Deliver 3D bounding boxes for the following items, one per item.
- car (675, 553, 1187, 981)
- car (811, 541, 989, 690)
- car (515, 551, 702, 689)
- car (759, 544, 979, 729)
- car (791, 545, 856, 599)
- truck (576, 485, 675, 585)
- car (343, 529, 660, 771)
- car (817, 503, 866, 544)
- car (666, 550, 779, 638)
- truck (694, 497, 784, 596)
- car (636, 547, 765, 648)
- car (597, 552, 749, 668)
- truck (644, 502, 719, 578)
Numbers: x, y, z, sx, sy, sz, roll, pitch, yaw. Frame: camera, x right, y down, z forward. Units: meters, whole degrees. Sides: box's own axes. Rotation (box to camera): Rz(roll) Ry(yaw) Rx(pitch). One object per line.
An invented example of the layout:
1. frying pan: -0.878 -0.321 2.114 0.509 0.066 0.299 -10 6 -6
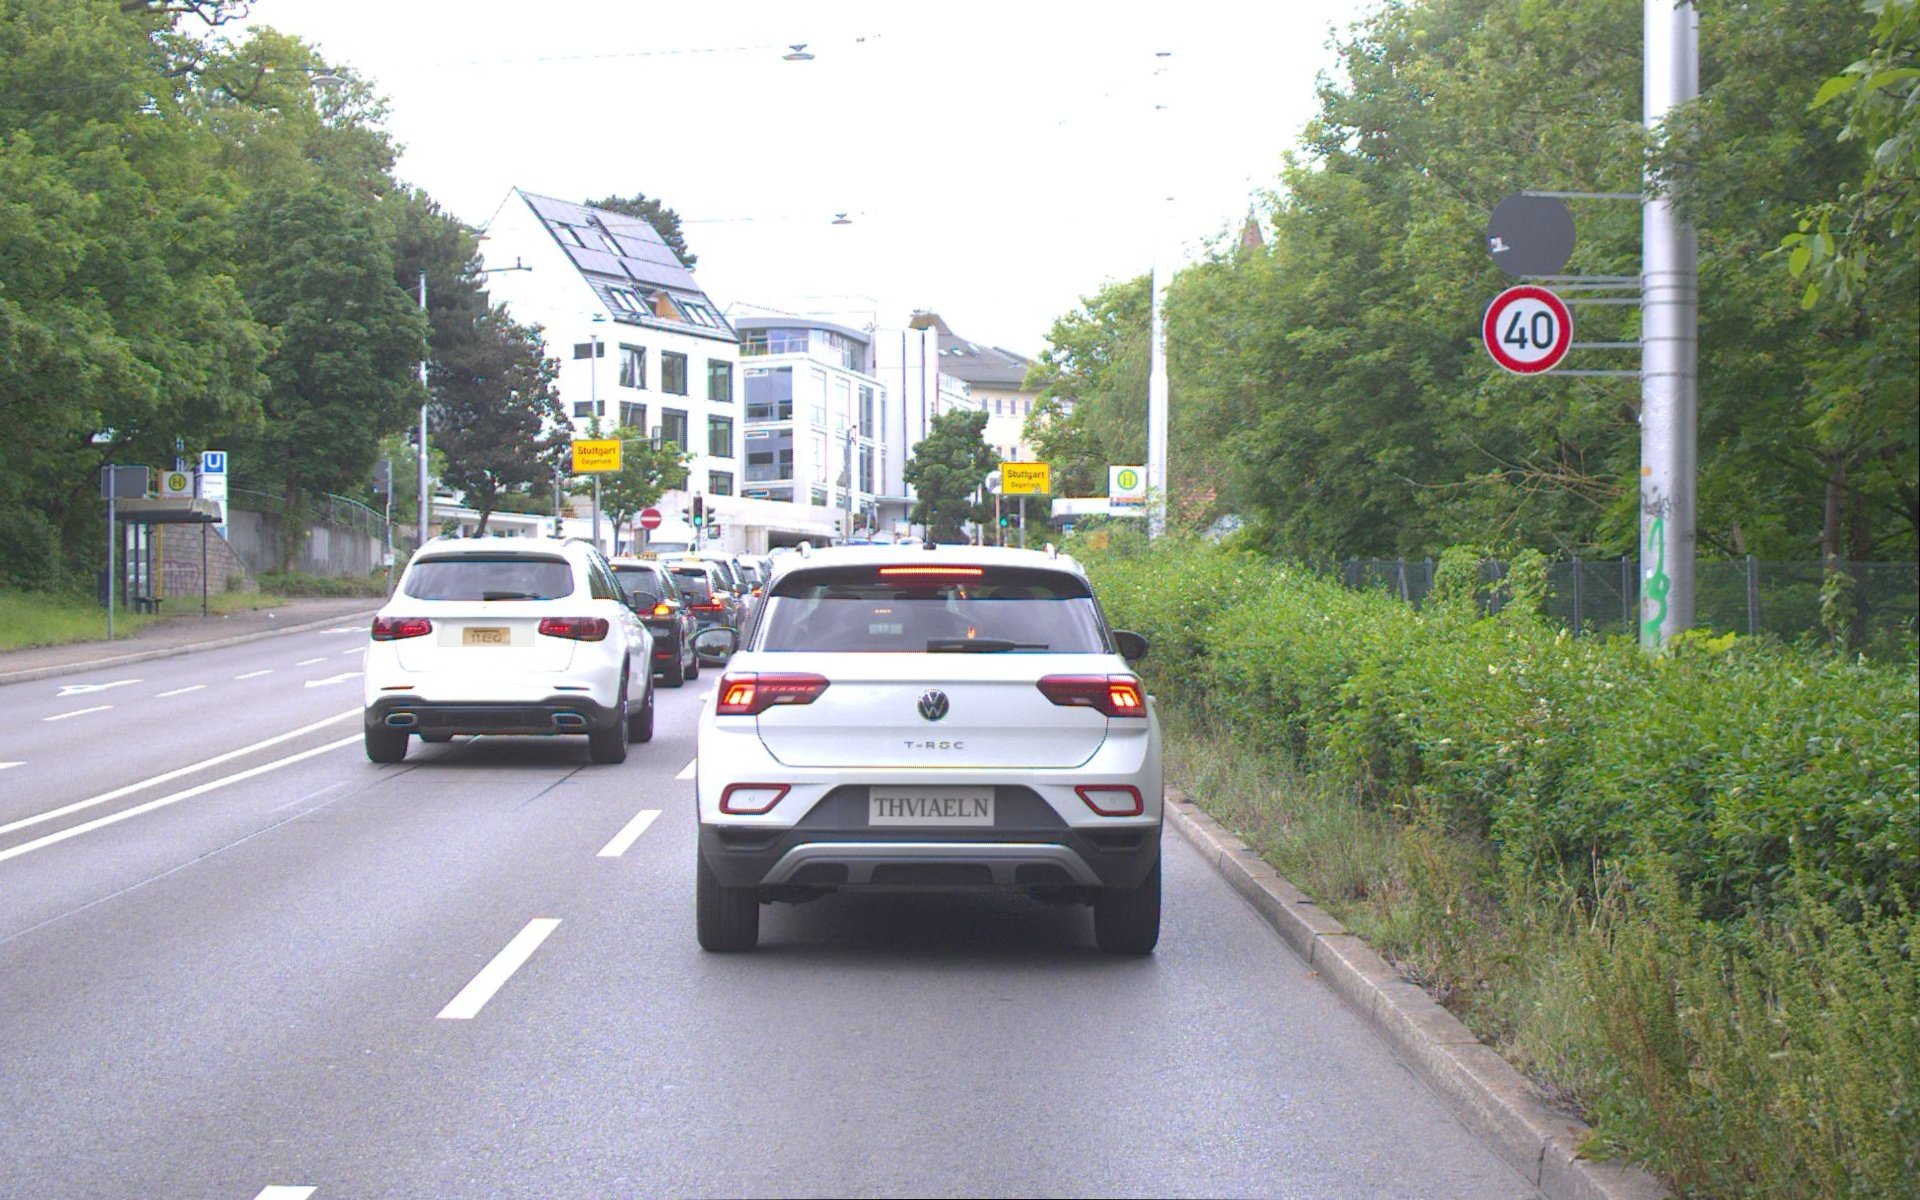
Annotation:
1. car: -0.144 0.572 14.329 1.829 1.520 4.000 0 1 -1
2. car: -0.666 0.131 37.797 1.829 1.520 4.000 -1 1 -1
3. car: -4.048 0.196 40.154 1.829 1.492 4.000 -1 1 -1
4. car: -0.806 0.281 30.923 1.829 1.520 4.000 -1 1 -1
5. car: -3.997 -0.830 101.268 1.829 1.520 4.000 -1 1 -1
6. truck: -9.393 -1.826 96.853 2.362 2.697 4.478 -2 1 -1
7. car: -3.357 0.320 25.876 1.918 1.664 4.000 1 1 -1
8. car: -4.574 -2.964 133.061 1.829 1.520 4.000 -1 1 -1
9. car: -4.307 -0.131 62.814 1.829 1.520 4.000 -1 1 -1
10. truck: -6.498 -1.579 101.513 2.362 2.772 4.478 -2 1 -1
11. car: -4.117 -0.065 55.048 1.829 1.520 4.000 -1 1 -1
12. car: -3.941 0.109 47.718 1.829 1.520 4.000 -1 1 -1
13. truck: -11.591 -2.490 143.533 2.293 3.040 6.979 -1 0 2
